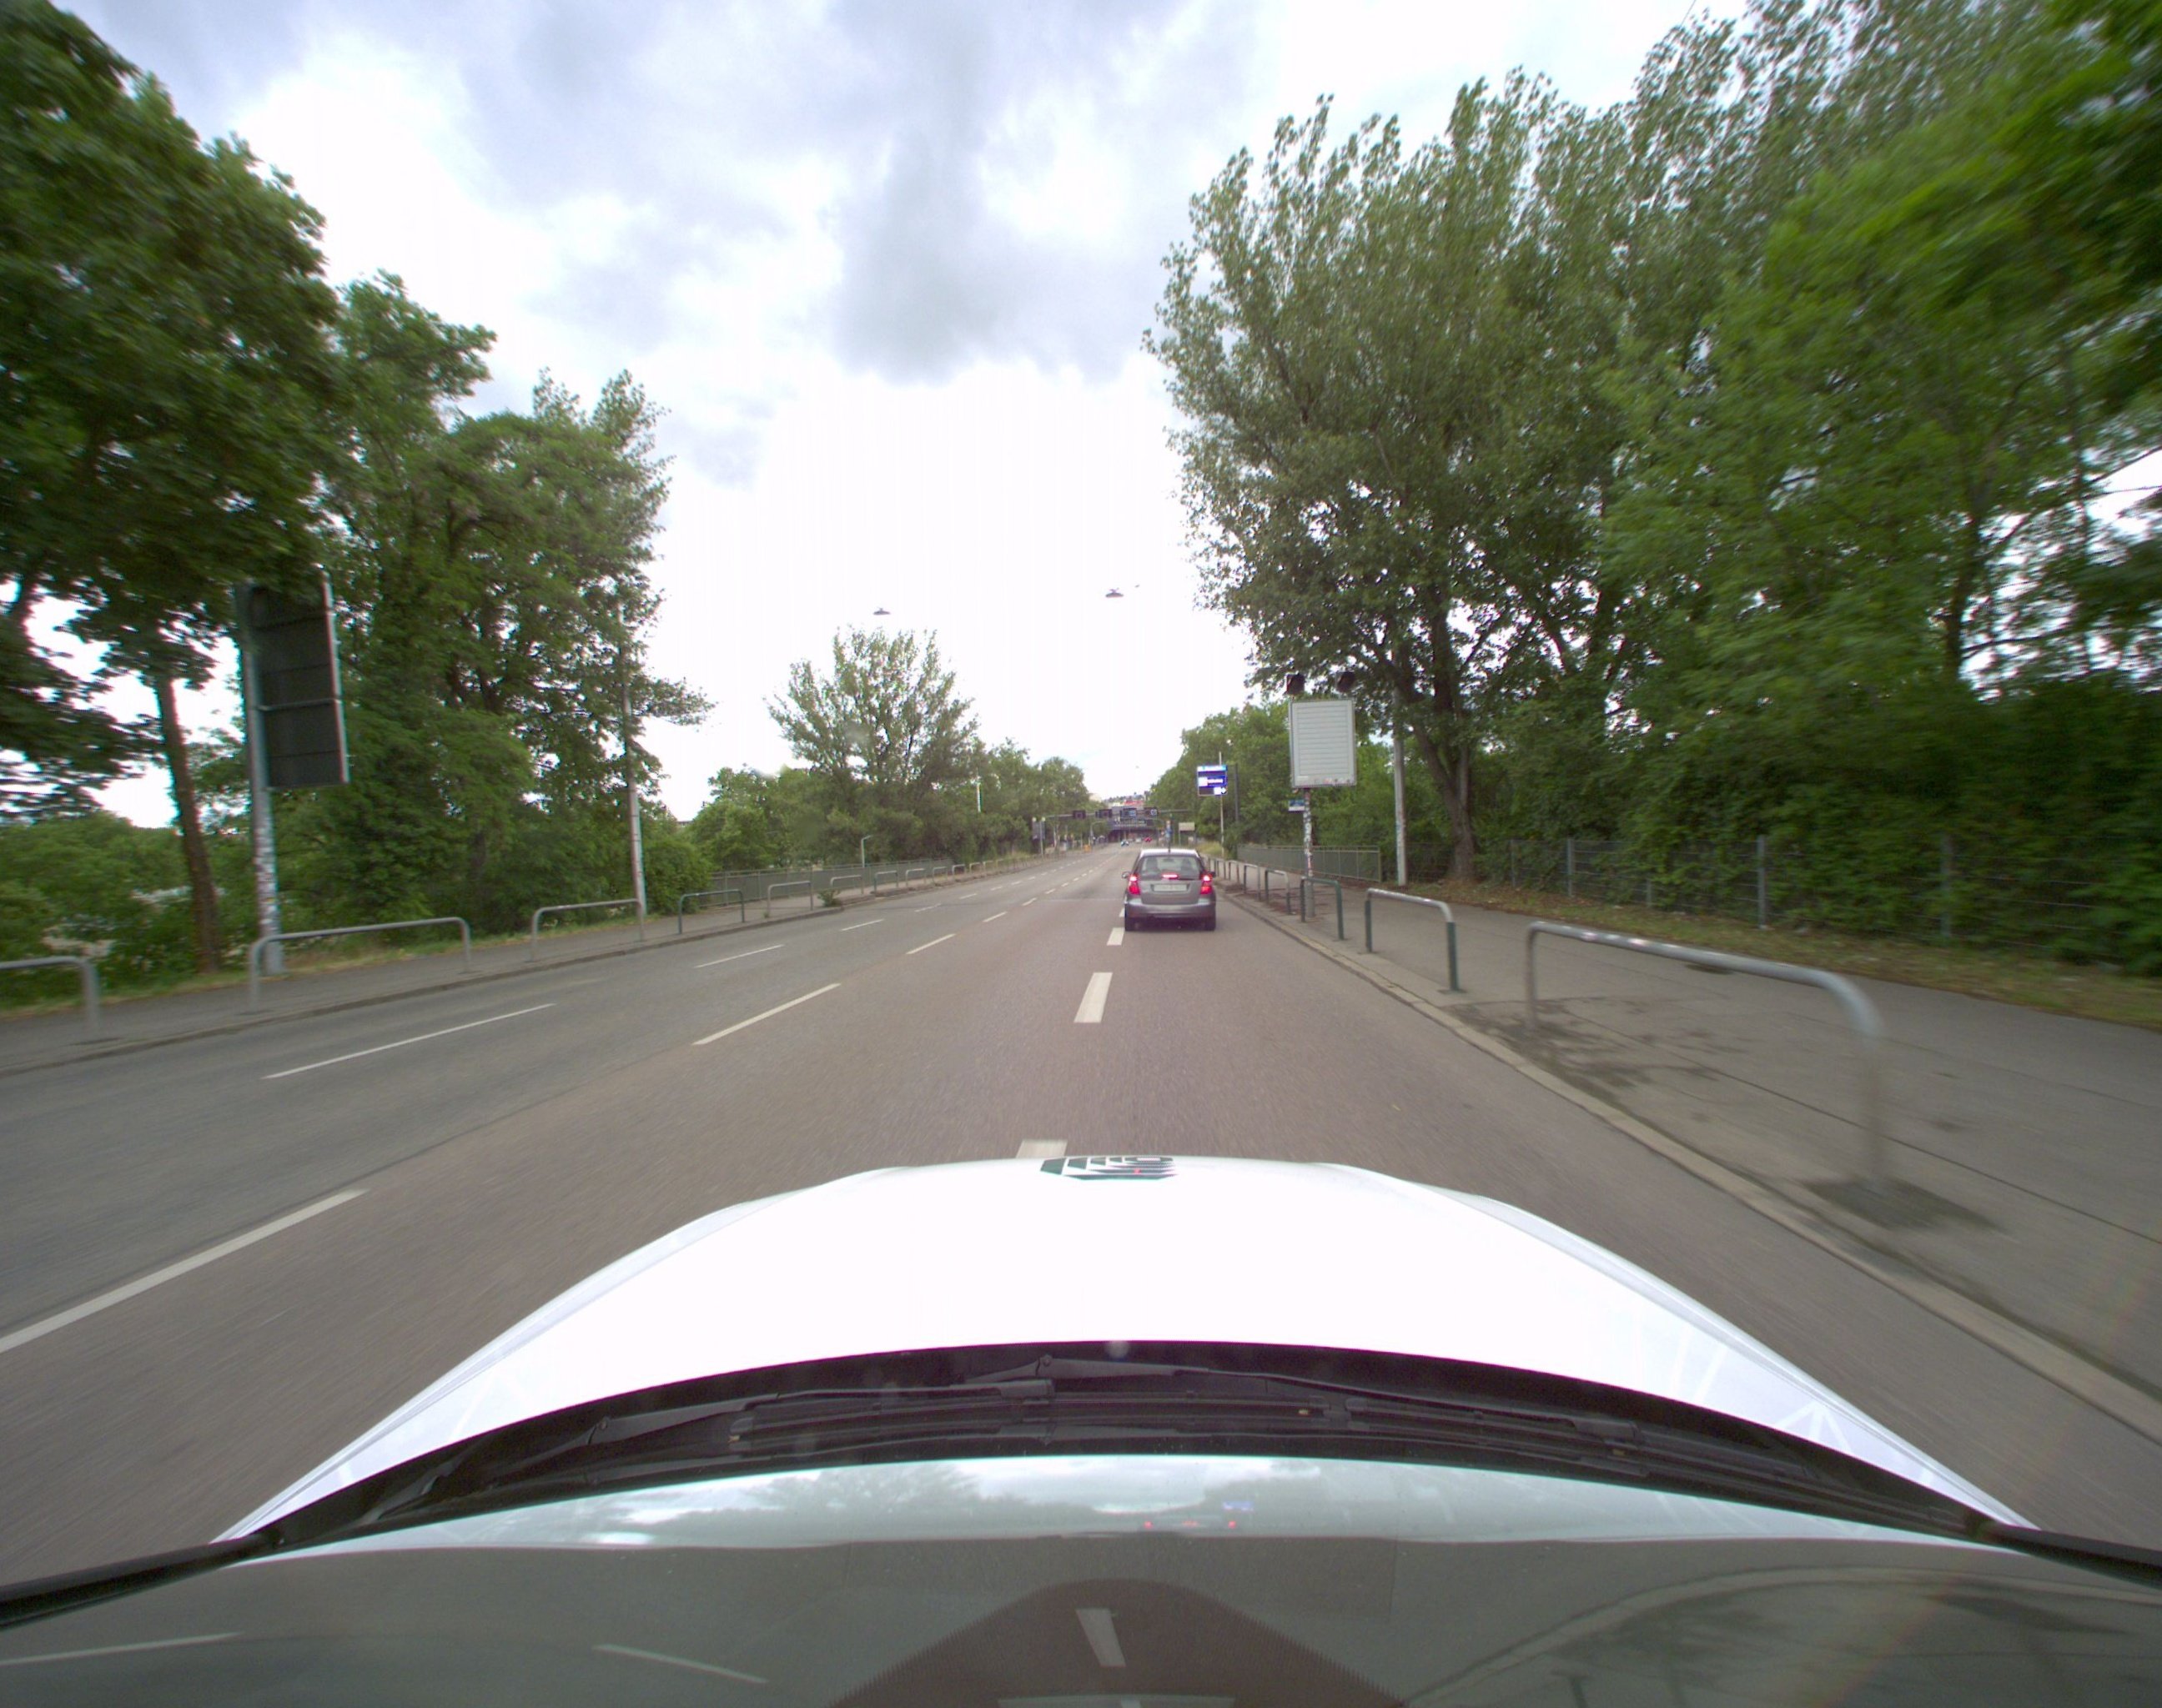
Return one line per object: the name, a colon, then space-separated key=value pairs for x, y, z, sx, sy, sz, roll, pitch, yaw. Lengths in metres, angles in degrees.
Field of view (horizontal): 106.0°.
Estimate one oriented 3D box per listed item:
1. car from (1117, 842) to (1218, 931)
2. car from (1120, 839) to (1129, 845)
car: x=1.830 y=0.584 z=16.925 sx=1.816 sy=1.616 sz=4.042 roll=-1 pitch=0 yaw=7
car: x=11.668 y=-3.203 z=217.563 sx=1.983 sy=1.660 sz=4.527 roll=-4 pitch=1 yaw=7
